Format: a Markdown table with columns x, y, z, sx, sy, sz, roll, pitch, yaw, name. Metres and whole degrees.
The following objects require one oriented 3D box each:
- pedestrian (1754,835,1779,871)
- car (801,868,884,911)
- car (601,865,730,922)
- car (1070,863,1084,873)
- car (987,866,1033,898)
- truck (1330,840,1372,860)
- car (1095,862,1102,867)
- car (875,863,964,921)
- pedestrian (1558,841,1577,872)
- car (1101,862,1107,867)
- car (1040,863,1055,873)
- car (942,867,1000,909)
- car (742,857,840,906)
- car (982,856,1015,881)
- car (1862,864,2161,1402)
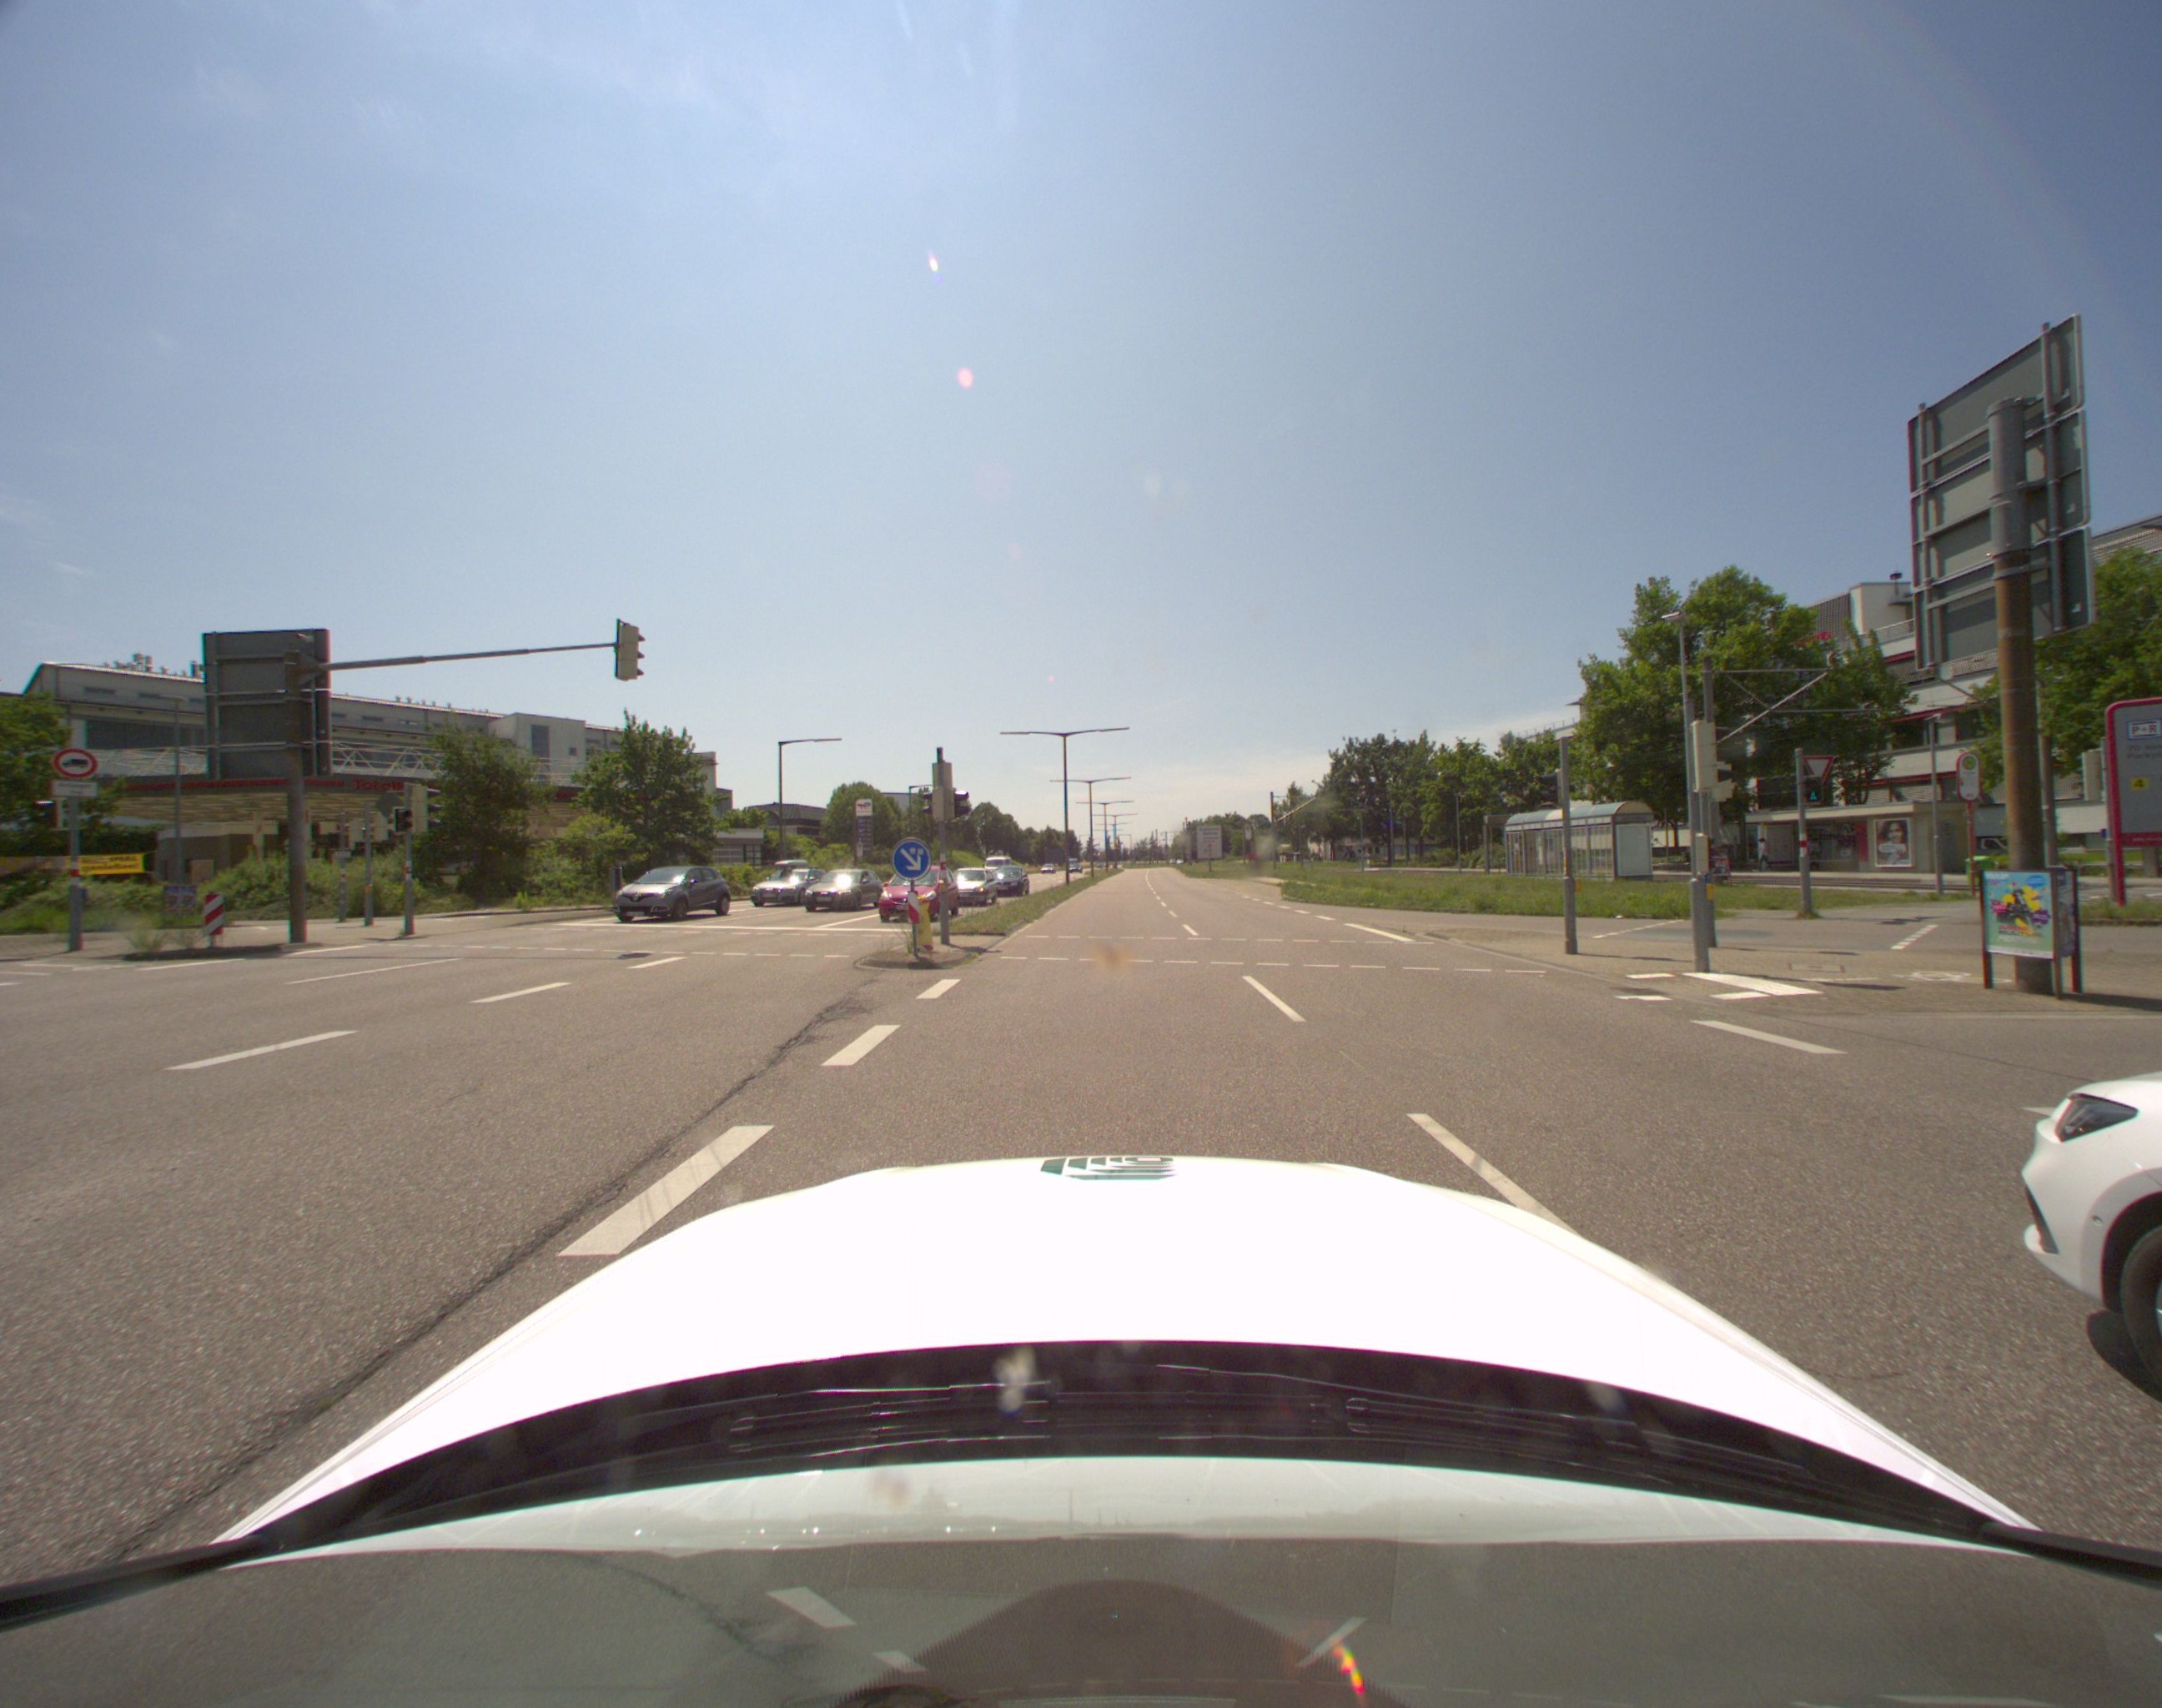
| x | y | z | sx | sy | sz | roll | pitch | yaw | name |
| --- | --- | --- | --- | --- | --- | --- | --- | --- | --- |
| 30.746 | -0.047 | 36.526 | 0.549 | 1.608 | 0.691 | 0 | -2 | 4 | pedestrian |
| -8.289 | 1.193 | 28.649 | 1.590 | 1.385 | 4.005 | -1 | -1 | 2 | car |
| -12.121 | 1.092 | 24.077 | 1.652 | 1.539 | 4.001 | 0 | -1 | 2 | car |
| -0.567 | 2.200 | 125.735 | 1.723 | 1.458 | 4.570 | -2 | -1 | 4 | car |
| -3.409 | 1.337 | 39.532 | 1.669 | 1.434 | 4.193 | -1 | -1 | 2 | car |
| 42.631 | -0.626 | 128.747 | 5.830 | 2.843 | 2.316 | -3 | -1 | -5 | truck |
| 5.214 | 3.078 | 240.695 | 1.985 | 1.360 | 4.671 | -3 | -1 | 4 | car |
| -4.585 | 1.040 | 23.719 | 1.652 | 1.490 | 4.001 | -1 | -1 | 2 | car |
| 29.358 | 0.146 | 49.145 | 0.694 | 1.842 | 0.709 | 0 | -2 | -12 | pedestrian |
| 7.161 | 3.132 | 253.403 | 1.685 | 1.492 | 4.003 | -2 | -1 | 3 | car |
| -5.032 | 2.122 | 121.937 | 1.823 | 1.449 | 4.854 | -2 | -1 | 3 | car |
| -4.107 | 1.239 | 31.032 | 1.555 | 1.423 | 3.855 | -1 | 0 | 2 | car |
| -11.451 | 1.035 | 32.578 | 1.957 | 1.750 | 5.024 | -1 | -1 | 2 | car |
| -7.963 | 1.395 | 79.175 | 2.239 | 2.273 | 5.454 | 0 | -1 | 4 | car |
| 3.627 | 0.710 | 0.712 | 1.676 | 1.390 | 4.452 | -1 | -1 | 1 | car |
